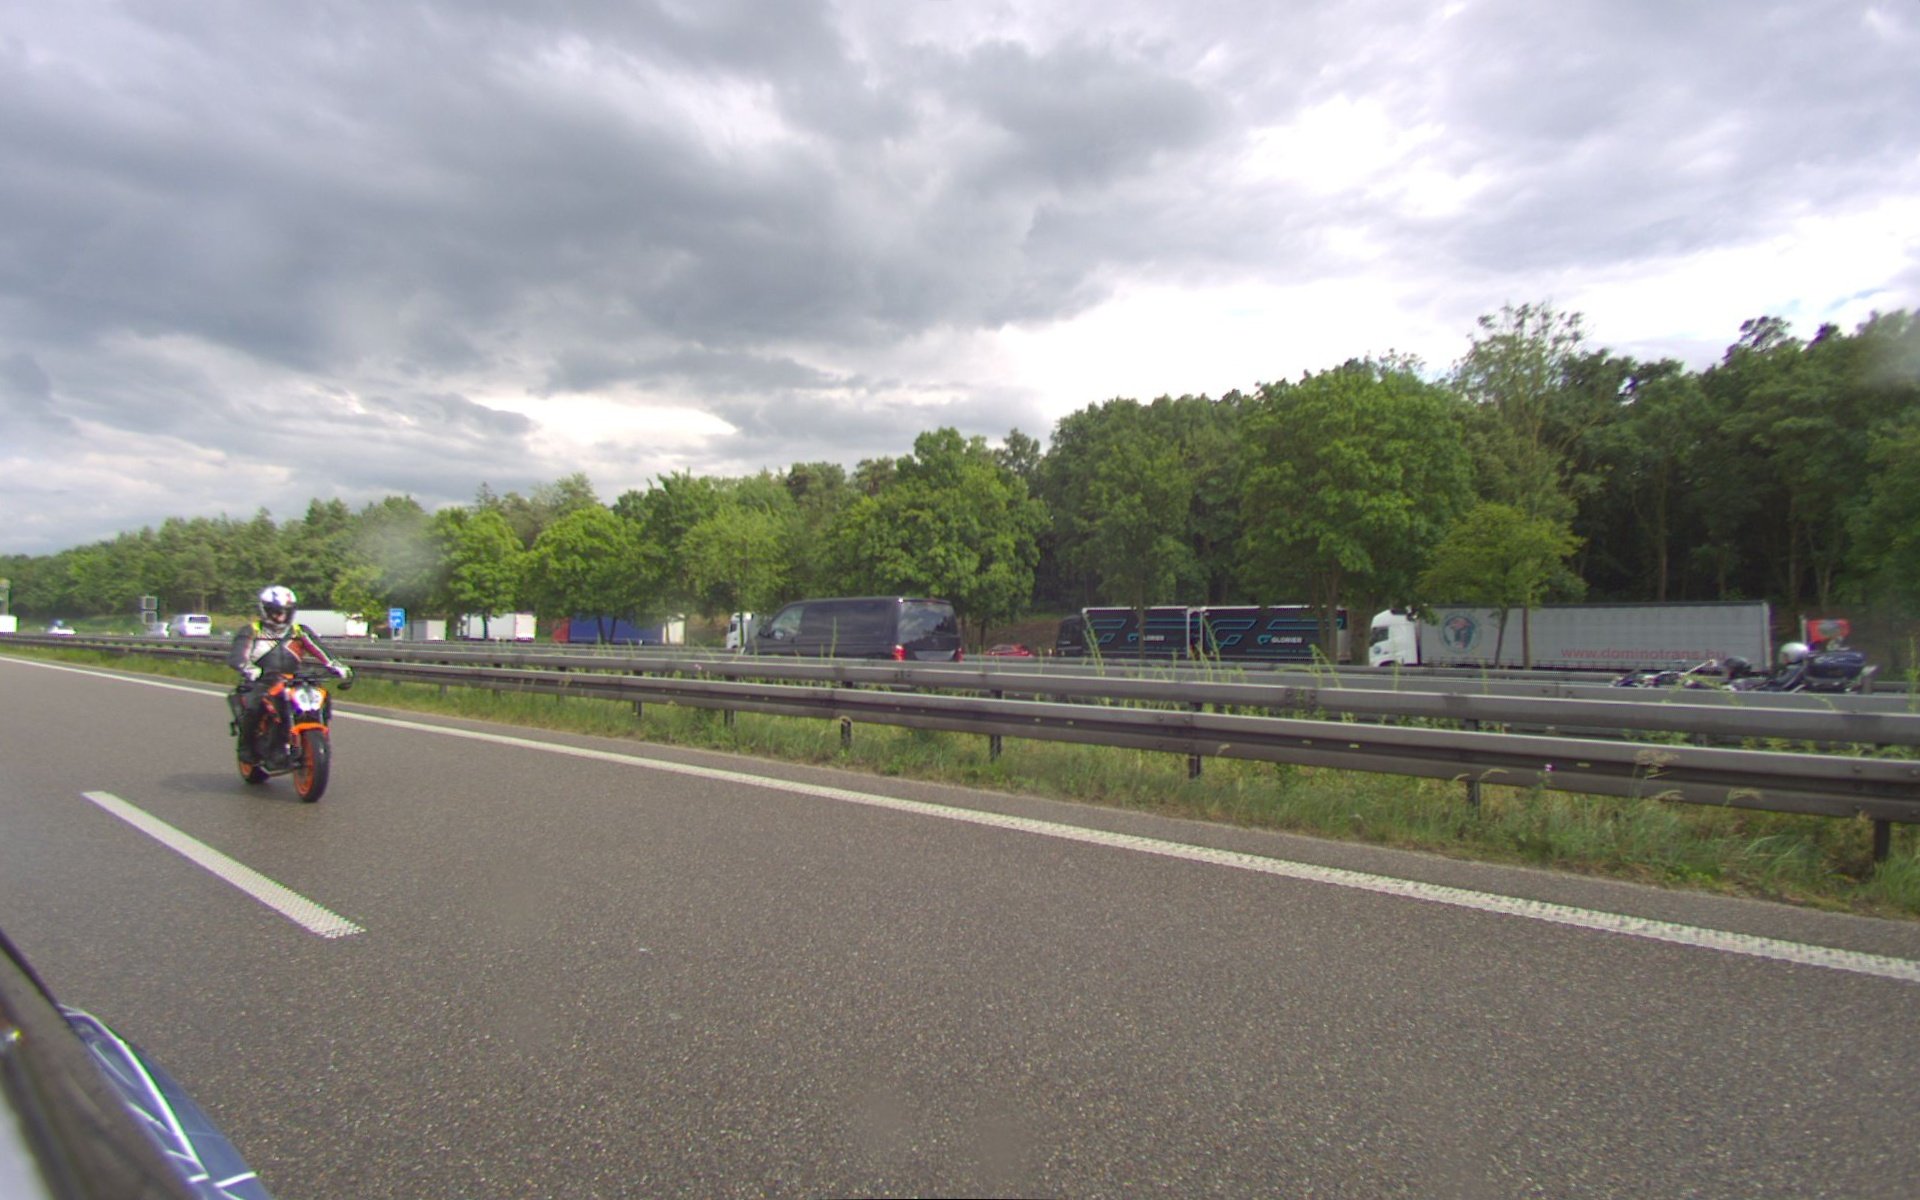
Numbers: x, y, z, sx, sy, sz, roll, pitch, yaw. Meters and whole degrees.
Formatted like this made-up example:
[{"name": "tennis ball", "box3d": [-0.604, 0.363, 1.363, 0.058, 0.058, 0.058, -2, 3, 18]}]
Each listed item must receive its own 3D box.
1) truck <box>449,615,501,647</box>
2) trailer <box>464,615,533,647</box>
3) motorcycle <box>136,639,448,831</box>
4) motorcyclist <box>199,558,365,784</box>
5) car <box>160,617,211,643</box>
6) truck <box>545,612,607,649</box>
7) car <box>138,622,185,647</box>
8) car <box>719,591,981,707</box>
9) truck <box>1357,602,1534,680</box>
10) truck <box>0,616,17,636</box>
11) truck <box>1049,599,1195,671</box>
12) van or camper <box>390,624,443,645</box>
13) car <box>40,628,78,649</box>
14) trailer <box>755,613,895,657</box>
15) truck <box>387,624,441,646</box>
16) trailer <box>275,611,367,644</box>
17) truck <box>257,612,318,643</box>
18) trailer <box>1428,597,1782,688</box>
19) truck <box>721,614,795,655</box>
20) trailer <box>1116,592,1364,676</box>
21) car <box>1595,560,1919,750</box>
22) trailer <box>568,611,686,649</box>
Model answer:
[{"name": "truck", "box3d": [-51.410, 3.250, 107.273, 5.066, 3.292, 2.636, -1, 0, 30]}, {"name": "trailer", "box3d": [-48.105, 3.197, 105.403, 7.712, 3.257, 2.560, -1, -2, 31]}, {"name": "motorcycle", "box3d": [-5.594, 0.976, 8.353, 3.189, 1.235, 1.174, -1, 0, 37]}, {"name": "motorcyclist", "box3d": [-5.580, 0.541, 8.336, 0.999, 1.719, 0.872, -1, -1, 38]}, {"name": "car", "box3d": [-59.782, 2.311, 78.095, 5.255, 1.905, 2.026, -1, 0, 40]}, {"name": "truck", "box3d": [-37.601, 2.911, 99.024, 5.880, 3.482, 2.837, -1, 0, 33]}, {"name": "car", "box3d": [-64.594, 2.795, 81.856, 5.255, 1.905, 2.026, -1, 0, 40]}, {"name": "car", "box3d": [-2.177, 0.822, 18.905, 5.054, 1.905, 1.933, -1, 0, 40]}, {"name": "truck", "box3d": [24.413, 1.948, 51.065, 7.351, 3.616, 3.748, -1, 0, 41]}, {"name": "truck", "box3d": [-133.956, 3.638, 141.189, 7.188, 2.702, 2.813, -1, 0, 41]}, {"name": "truck", "box3d": [10.204, 2.125, 64.350, 8.413, 4.266, 3.748, -1, 0, 41]}, {"name": "van or camper", "box3d": [-60.715, 3.875, 113.012, 6.292, 2.282, 2.105, -1, -1, 27]}, {"name": "car", "box3d": [-86.983, 3.680, 97.699, 5.255, 1.905, 2.026, -1, 0, 40]}, {"name": "trailer", "box3d": [-10.924, 2.753, 80.608, 12.458, 3.241, 3.315, -1, -2, 38]}, {"name": "truck", "box3d": [-60.916, 3.875, 112.917, 6.288, 2.282, 2.105, -1, -1, 27]}, {"name": "trailer", "box3d": [-75.905, 3.272, 120.115, 12.504, 3.767, 3.185, -1, -2, 27]}, {"name": "truck", "box3d": [-81.779, 3.326, 123.025, 6.880, 3.733, 3.189, -1, 0, 26]}, {"name": "trailer", "box3d": [29.263, 1.864, 46.742, 13.340, 3.677, 3.749, -1, -2, 42]}, {"name": "truck", "box3d": [-17.085, 2.827, 85.471, 5.498, 3.298, 3.322, -1, 0, 37]}, {"name": "trailer", "box3d": [15.999, 1.976, 59.297, 13.796, 4.439, 3.749, -1, -2, 42]}, {"name": "car", "box3d": [11.292, 0.591, 11.660, 6.495, 2.062, 2.152, -1, 0, 40]}, {"name": "trailer", "box3d": [-31.356, 2.788, 94.847, 13.388, 3.431, 2.800, -1, -2, 34]}]
